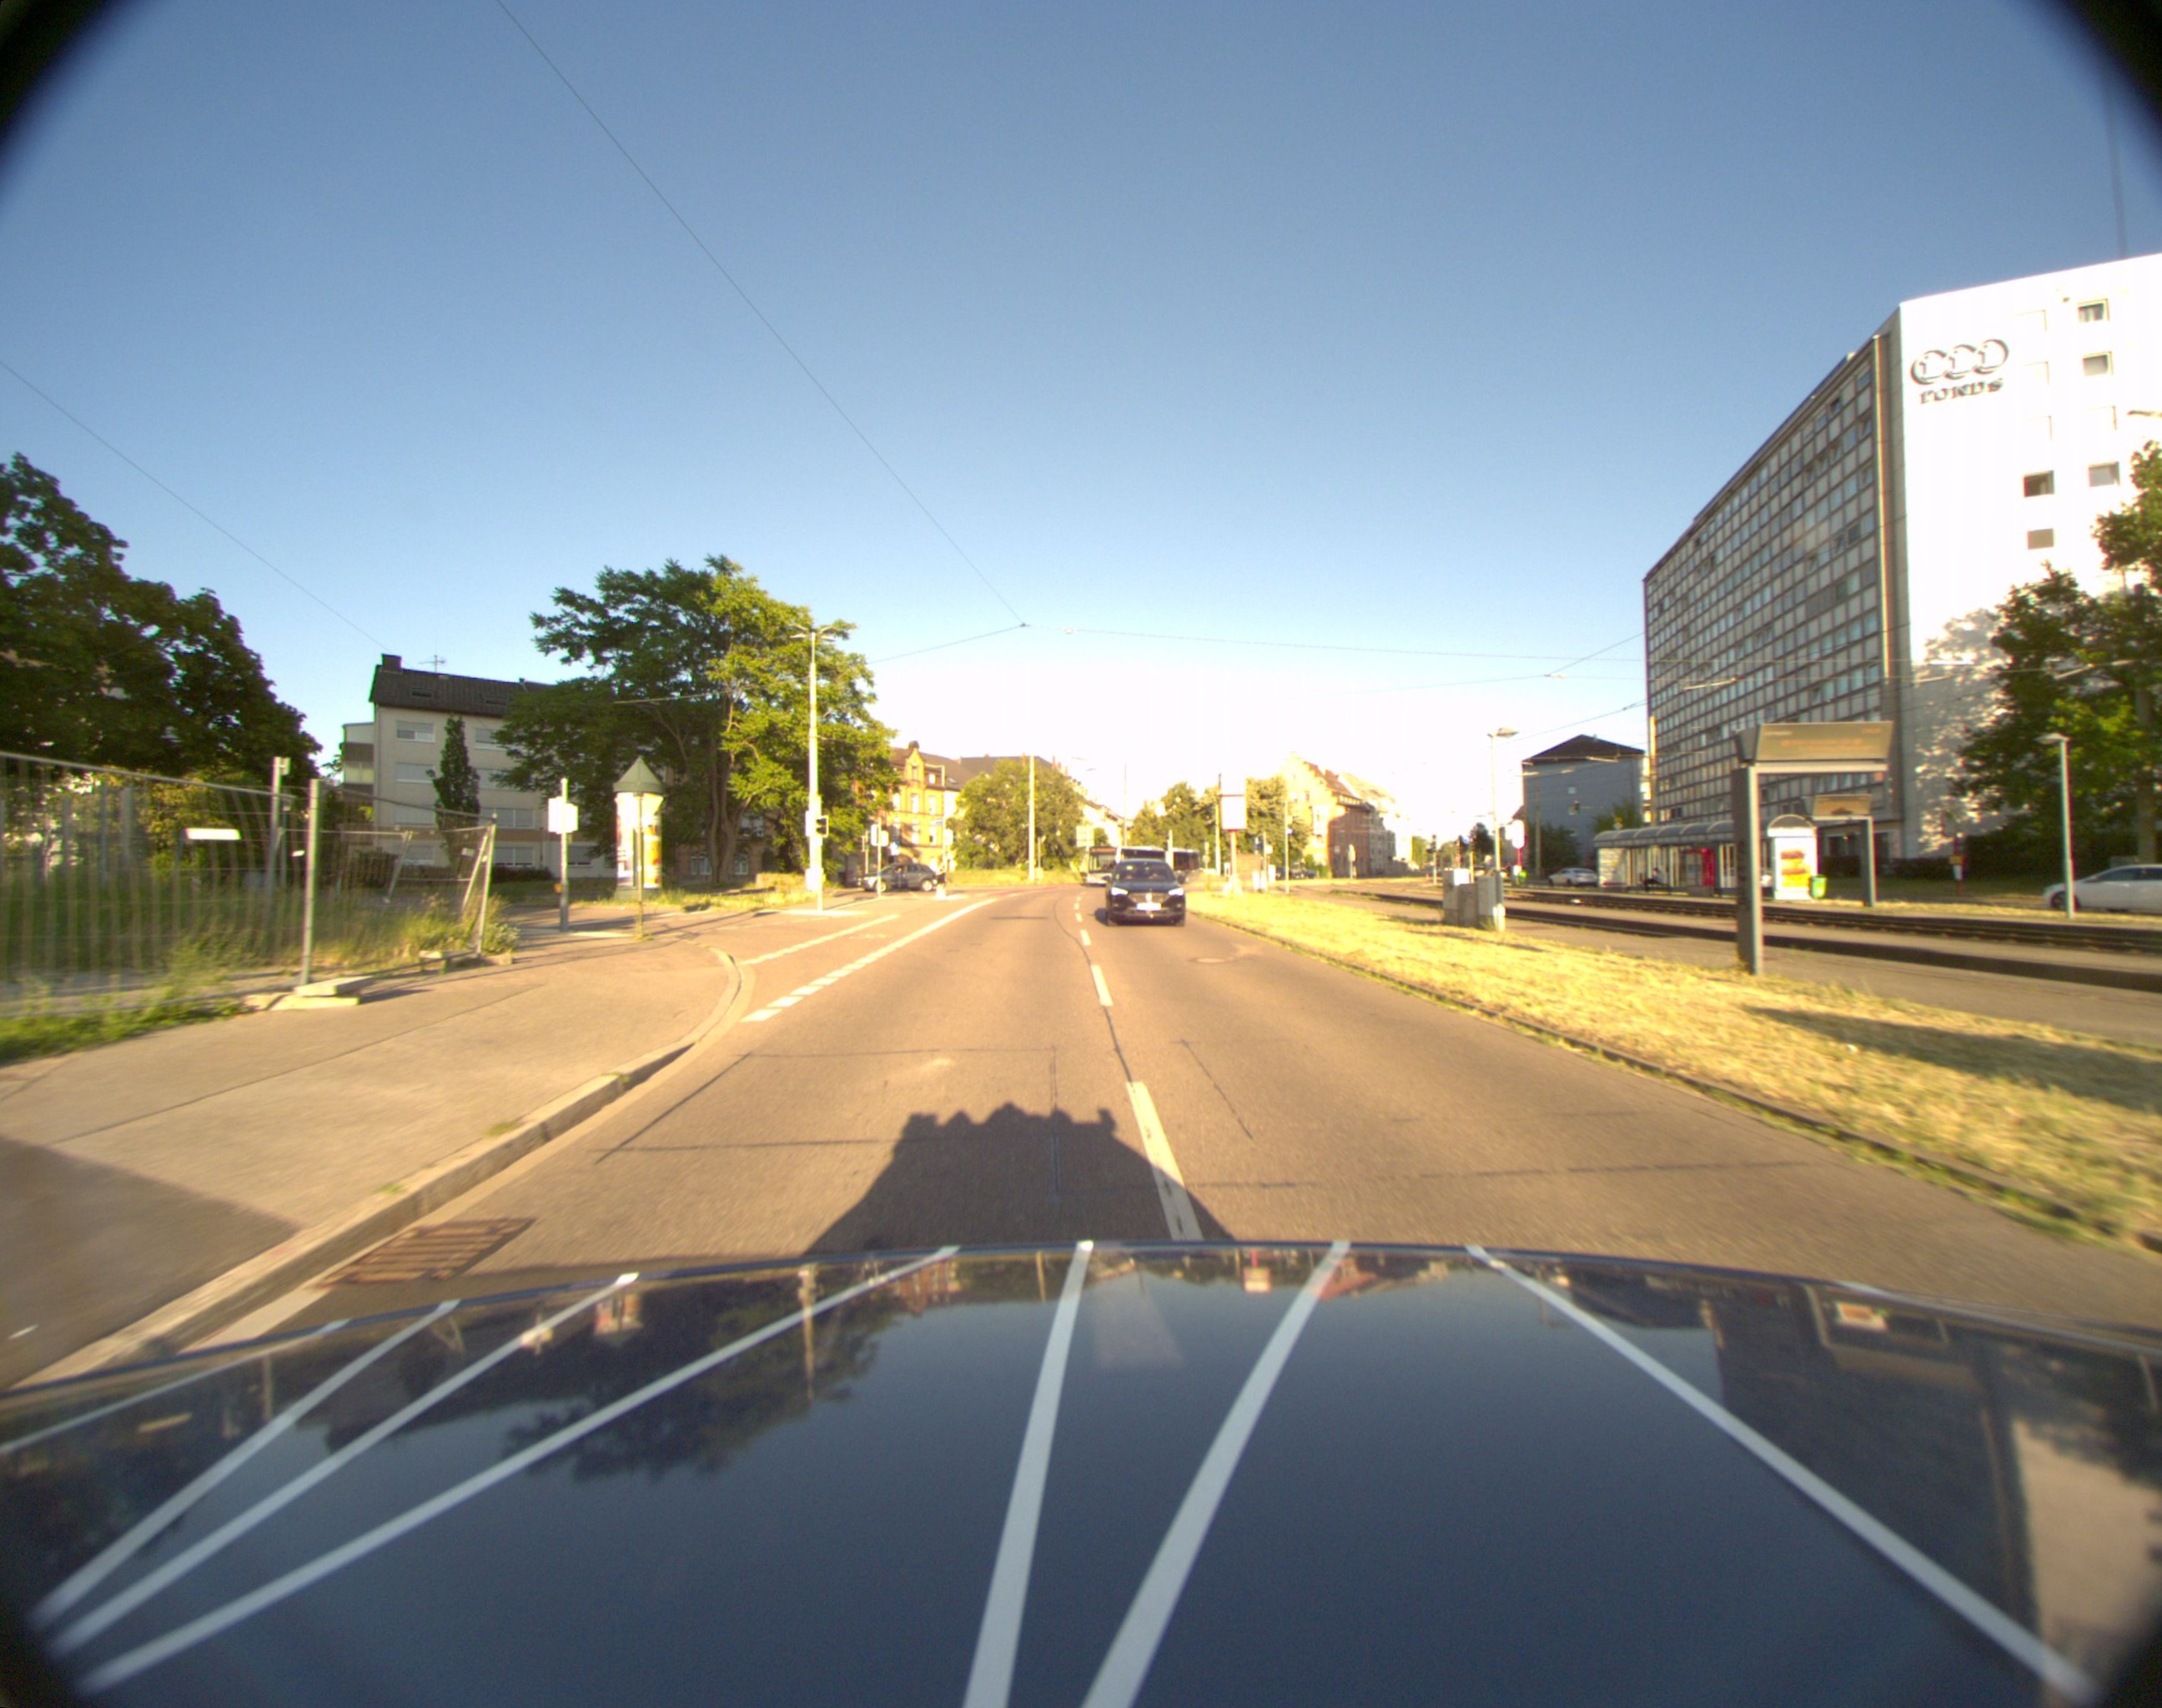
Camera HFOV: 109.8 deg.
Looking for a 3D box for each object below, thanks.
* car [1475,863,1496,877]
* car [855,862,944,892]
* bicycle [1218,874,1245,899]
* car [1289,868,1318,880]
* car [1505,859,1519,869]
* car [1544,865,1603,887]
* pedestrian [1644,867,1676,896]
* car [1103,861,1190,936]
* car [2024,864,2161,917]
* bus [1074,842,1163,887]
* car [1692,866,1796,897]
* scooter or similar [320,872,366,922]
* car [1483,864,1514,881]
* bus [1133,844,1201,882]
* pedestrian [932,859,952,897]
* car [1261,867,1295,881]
[{"bbox_3d":[43.217,1.734,81.232,1.878,1.465,4.137,-1,-1,27],"label":"car"},{"bbox_3d":[-9.849,1.213,41.424,4.340,1.539,1.815,0,0,-35],"label":"car"},{"bbox_3d":[6.368,1.364,32.028,0.606,0.987,1.750,0,0,29],"label":"bicycle"},{"bbox_3d":[28.102,2.492,95.927,3.987,1.405,1.737,0,-1,-44],"label":"car"},{"bbox_3d":[73.668,1.712,129.908,1.878,1.677,4.138,-1,-1,31],"label":"car"},{"bbox_3d":[34.289,1.526,52.999,1.740,1.465,4.132,-1,-1,6],"label":"car"},{"bbox_3d":[26.278,1.239,34.513,0.954,1.260,0.662,-1,1,-4],"label":"pedestrian"},{"bbox_3d":[1.539,1.023,19.467,1.818,1.670,4.624,-1,0,0],"label":"car"},{"bbox_3d":[32.393,1.078,23.199,1.740,1.539,4.437,-1,-1,2],"label":"car"},{"bbox_3d":[2.953,0.717,55.725,2.607,3.007,9.596,0,0,28],"label":"bus"},{"bbox_3d":[33.461,1.358,38.497,1.740,1.465,4.130,-1,-1,2],"label":"car"},{"bbox_3d":[-19.285,1.102,19.862,1.291,1.268,0.393,0,1,25],"label":"scooter or similar"},{"bbox_3d":[37.452,1.626,68.275,1.738,1.465,4.136,-1,-1,19],"label":"car"},{"bbox_3d":[7.379,0.731,63.911,2.607,3.007,8.876,0,0,28],"label":"bus"},{"bbox_3d":[-5.931,1.026,32.445,0.592,1.586,0.548,0,0,35],"label":"pedestrian"},{"bbox_3d":[21.521,2.224,82.956,3.987,1.465,1.737,0,-1,-44],"label":"car"}]
